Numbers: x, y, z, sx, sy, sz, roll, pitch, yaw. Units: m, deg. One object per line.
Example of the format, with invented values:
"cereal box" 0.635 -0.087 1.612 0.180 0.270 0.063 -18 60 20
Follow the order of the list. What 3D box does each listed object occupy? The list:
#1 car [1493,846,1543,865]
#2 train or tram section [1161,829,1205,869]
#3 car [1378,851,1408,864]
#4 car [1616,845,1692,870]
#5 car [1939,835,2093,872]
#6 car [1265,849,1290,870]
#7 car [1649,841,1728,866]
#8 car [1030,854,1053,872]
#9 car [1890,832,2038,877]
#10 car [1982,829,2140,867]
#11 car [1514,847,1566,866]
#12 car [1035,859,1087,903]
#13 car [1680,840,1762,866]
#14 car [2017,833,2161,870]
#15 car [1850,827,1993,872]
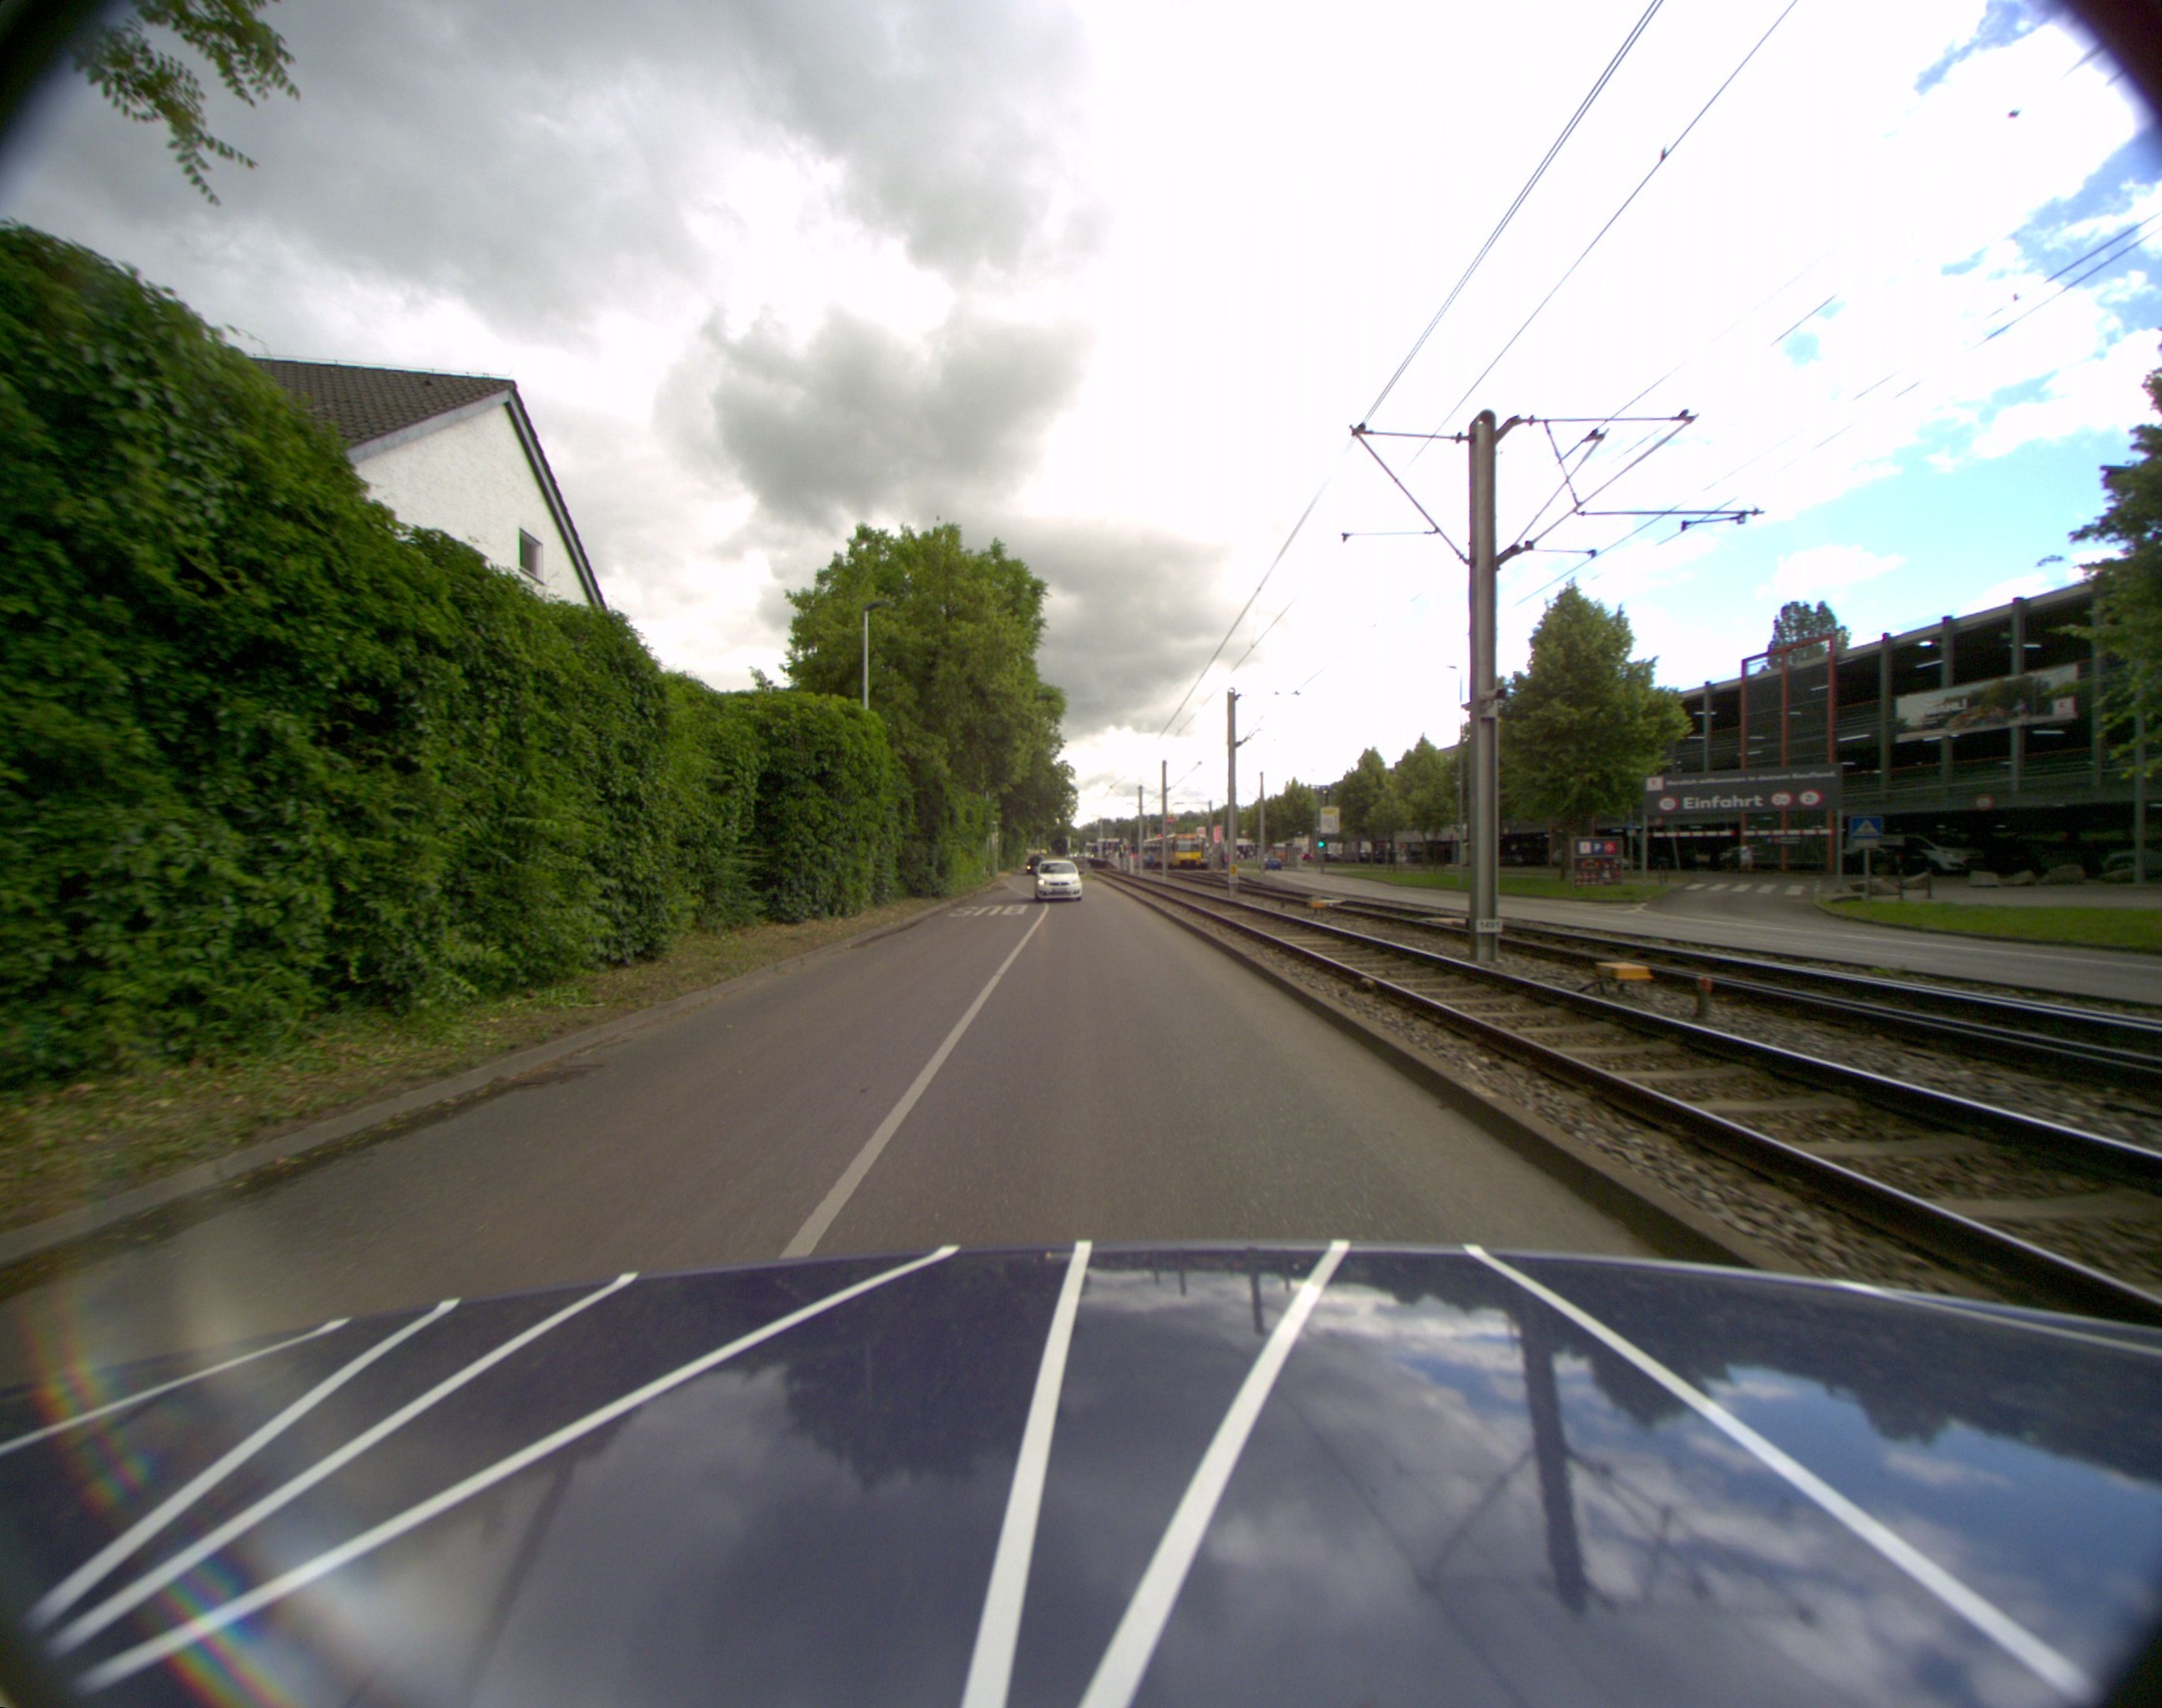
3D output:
"car" 40.052 0.146 69.820 1.999 1.689 4.405 -1 0 -1
"train or tram section" 10.596 -0.487 80.324 2.778 3.753 13.787 -1 0 0
"car" 39.833 0.407 97.182 1.999 1.618 4.405 -1 0 -1
"car" 40.173 0.228 53.395 1.999 1.618 4.405 -1 0 -1
"car" 45.262 -0.015 36.960 1.999 1.640 4.405 -1 0 -1
"car" 20.309 0.556 78.747 1.997 2.002 4.002 -1 0 8
"car" 42.713 -0.040 53.587 1.999 1.689 4.405 -1 0 -1
"car" -3.664 0.826 71.142 1.714 1.586 4.001 -1 0 2
"car" 42.516 0.011 36.746 1.999 2.002 4.405 -1 0 -1
"car" 47.631 -0.261 37.088 1.999 1.708 4.405 -1 0 -1
"car" 42.164 0.203 69.935 1.999 1.689 4.405 -1 0 -1
"car" -0.790 0.959 28.506 1.765 1.469 4.030 -2 0 -3
"car" 45.009 -0.061 53.601 1.999 1.689 4.405 -1 0 -1
"car" 50.635 -0.126 38.067 1.999 1.731 4.405 -1 0 -1
"car" 40.375 -0.197 36.696 1.999 2.002 4.405 -1 0 -1
